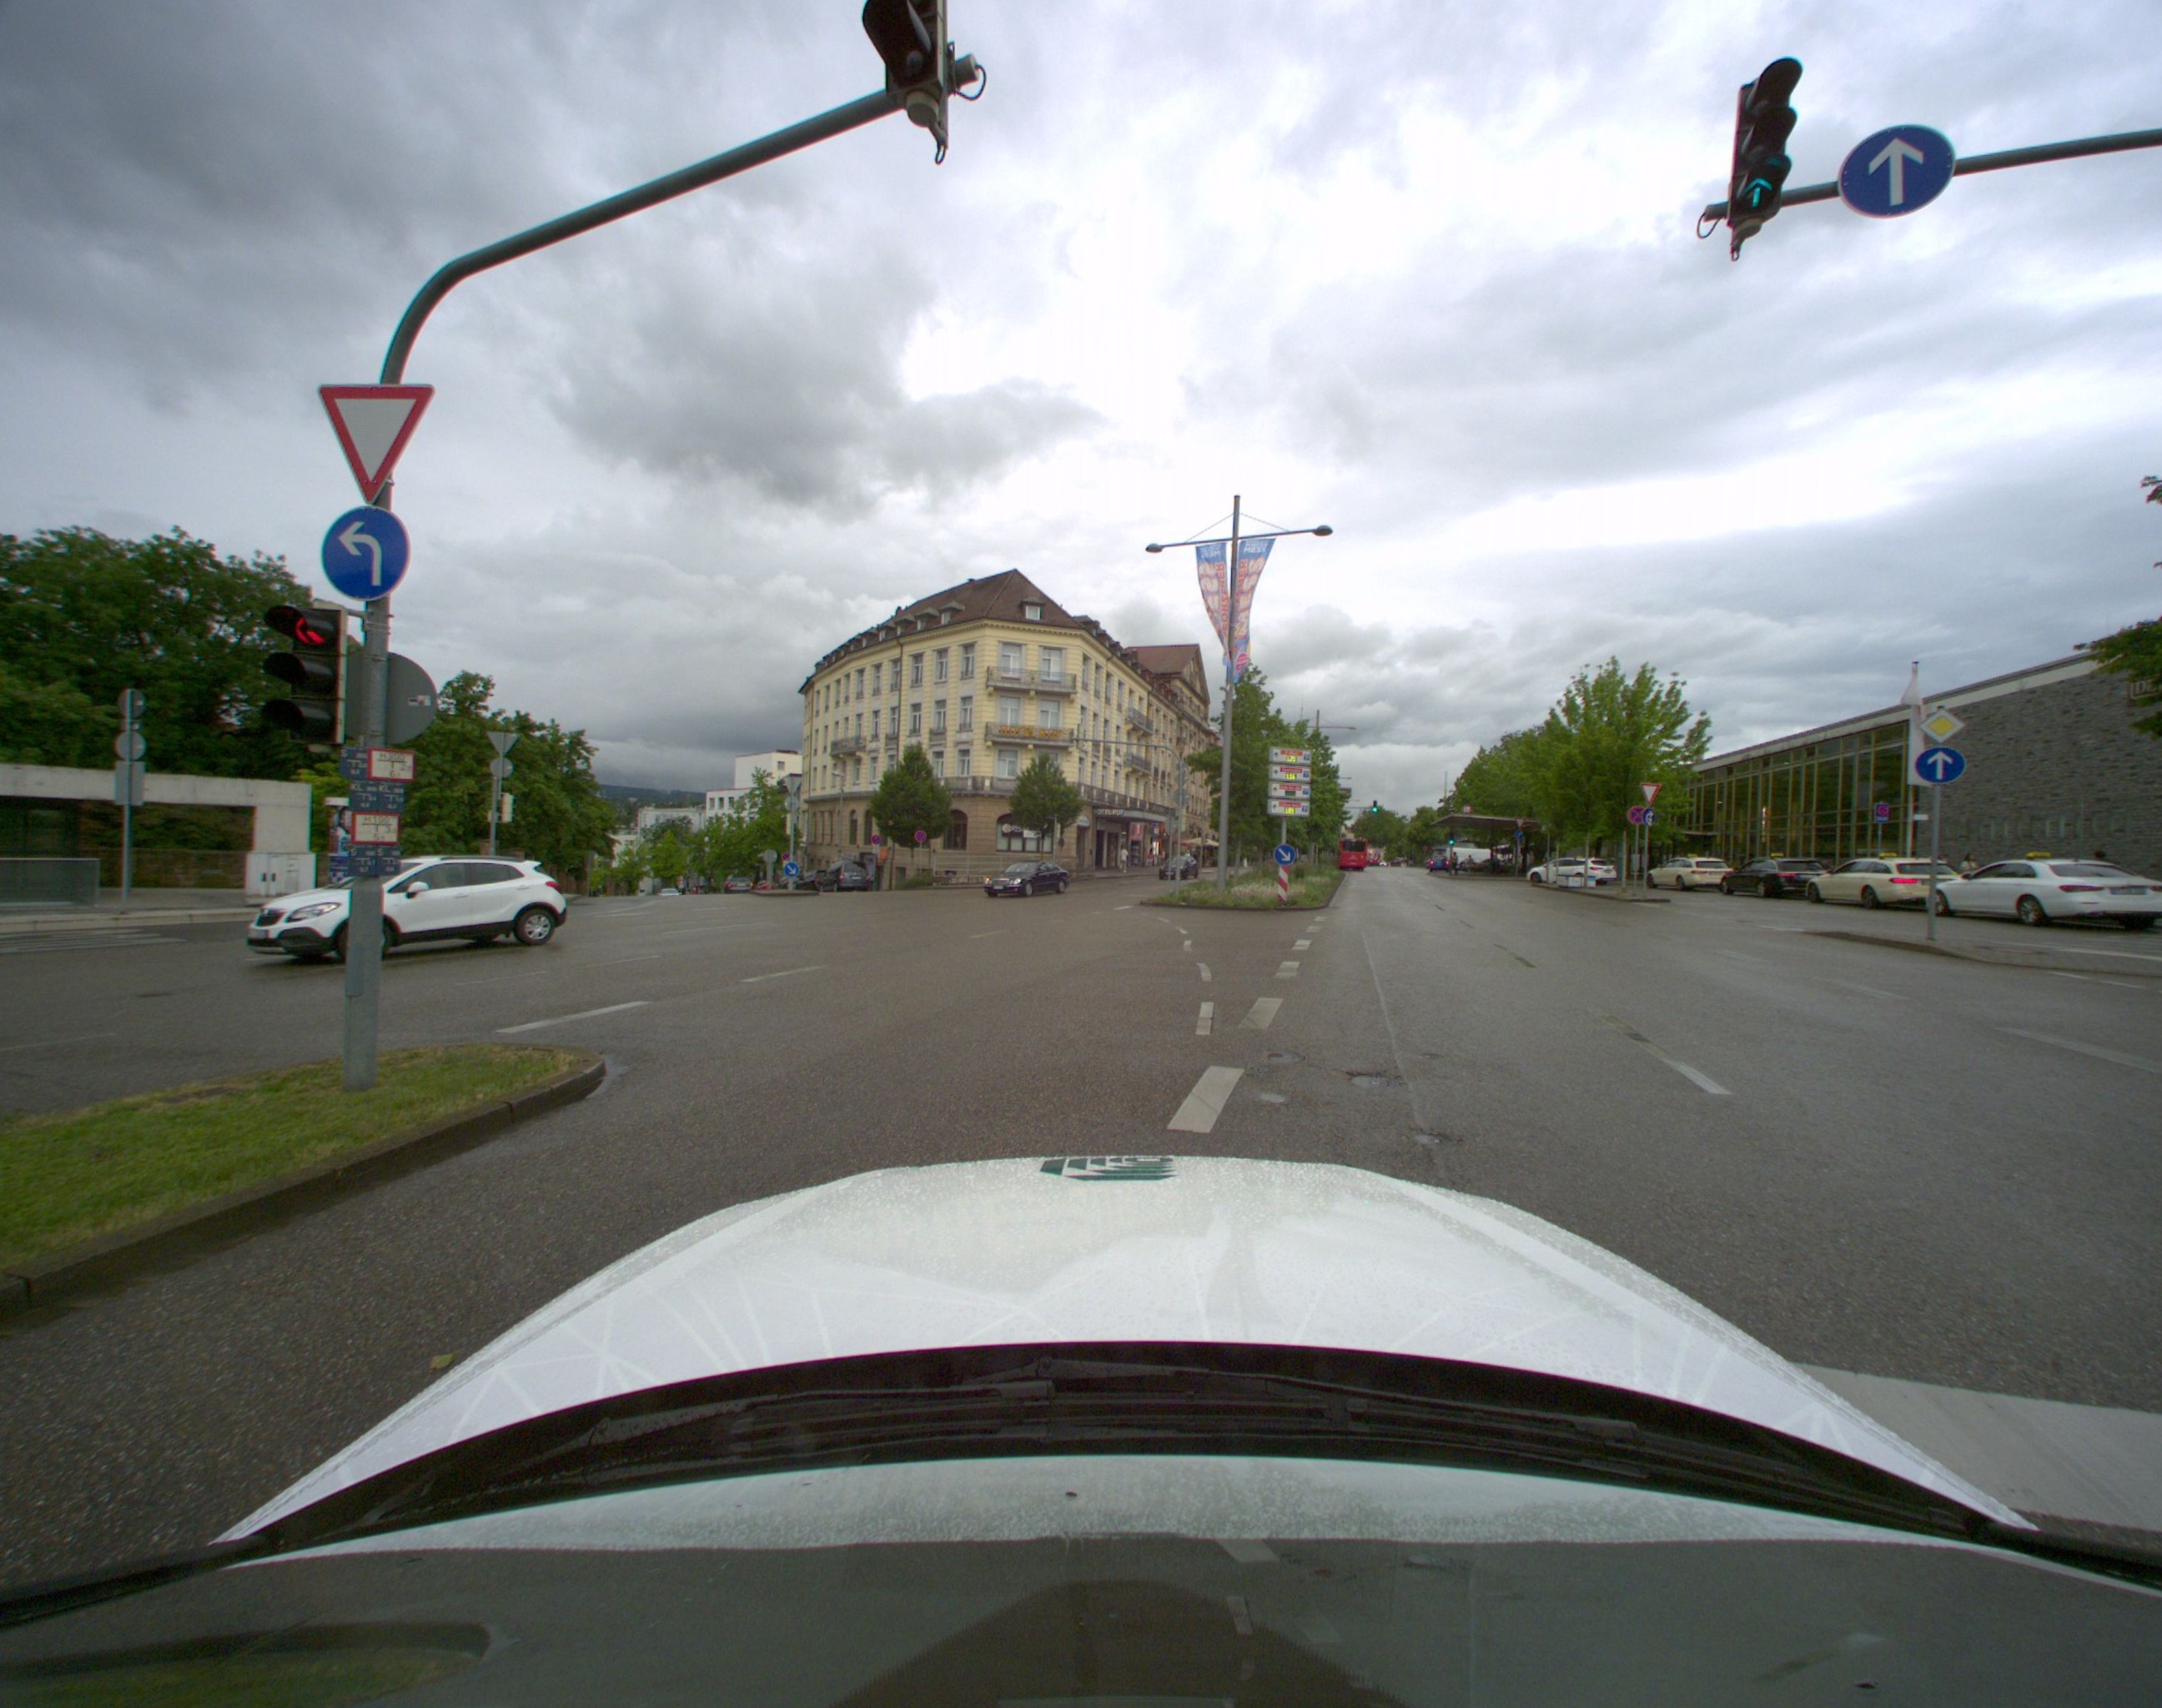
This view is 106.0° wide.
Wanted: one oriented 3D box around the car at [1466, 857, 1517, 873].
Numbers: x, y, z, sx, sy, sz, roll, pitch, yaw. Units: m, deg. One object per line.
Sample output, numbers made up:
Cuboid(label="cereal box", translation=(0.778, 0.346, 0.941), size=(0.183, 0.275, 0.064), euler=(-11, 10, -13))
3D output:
Cuboid(label="car", translation=(38.638, 1.030, 76.651), size=(3.988, 1.359, 1.857), euler=(1, -1, -11))

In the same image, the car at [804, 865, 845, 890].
Cuboid(label="car", translation=(-16.223, 1.446, 51.399), size=(1.640, 1.398, 3.961), euler=(0, 0, -30))

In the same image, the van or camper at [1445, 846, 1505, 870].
Cuboid(label="van or camper", translation=(44.690, 0.456, 92.426), size=(5.942, 2.763, 2.193), euler=(0, -1, -8))

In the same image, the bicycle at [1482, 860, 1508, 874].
Cuboid(label="bicycle", translation=(32.471, 1.027, 63.894), size=(1.821, 1.056, 0.420), euler=(0, -1, 1))

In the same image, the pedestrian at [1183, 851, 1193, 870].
Cuboid(label="pedestrian", translation=(9.321, 0.583, 70.909), size=(0.675, 1.664, 0.811), euler=(-1, -1, 22))

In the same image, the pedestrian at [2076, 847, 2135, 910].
Cuboid(label="pedestrian", translation=(26.972, 0.635, 21.442), size=(0.724, 1.626, 0.791), euler=(0, -1, -25))

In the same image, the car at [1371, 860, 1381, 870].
Cuboid(label="car", translation=(58.853, 2.120, 162.459), size=(1.977, 2.014, 4.020), euler=(-1, -1, 20))

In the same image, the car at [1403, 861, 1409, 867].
Cuboid(label="car", translation=(91.861, 2.747, 230.152), size=(1.631, 1.661, 3.668), euler=(-1, -1, 20))

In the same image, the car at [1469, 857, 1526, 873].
Cuboid(label="car", translation=(37.391, 0.999, 73.184), size=(4.172, 1.325, 1.839), euler=(1, -1, -1))

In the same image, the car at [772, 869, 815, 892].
Cuboid(label="car", translation=(-19.637, 1.756, 55.462), size=(1.777, 1.478, 3.957), euler=(0, -1, -35))

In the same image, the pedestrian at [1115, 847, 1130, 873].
Cuboid(label="pedestrian", translation=(2.933, 0.435, 57.613), size=(0.872, 1.813, 0.754), euler=(-1, -1, 19))

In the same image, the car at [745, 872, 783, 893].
Cuboid(label="car", translation=(-23.487, 2.081, 60.239), size=(1.777, 1.478, 3.967), euler=(0, -1, -35))

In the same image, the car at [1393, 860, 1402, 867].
Cuboid(label="car", translation=(69.905, 2.033, 179.901), size=(1.581, 1.561, 3.668), euler=(-1, -1, 20))

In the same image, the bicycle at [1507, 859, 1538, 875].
Cuboid(label="bicycle", translation=(29.935, 0.894, 55.200), size=(1.812, 1.056, 0.422), euler=(-1, -1, 19))

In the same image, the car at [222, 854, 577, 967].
Cuboid(label="car", translation=(-11.356, 0.836, 13.966), size=(1.938, 1.618, 4.232), euler=(-1, -1, 25))

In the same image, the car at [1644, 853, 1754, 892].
Cuboid(label="car", translation=(27.583, 0.783, 36.559), size=(1.980, 1.599, 4.974), euler=(-1, 0, 12))

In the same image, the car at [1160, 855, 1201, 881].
Cuboid(label="car", translation=(6.198, 0.846, 50.440), size=(1.663, 1.512, 3.883), euler=(-1, -1, 21))

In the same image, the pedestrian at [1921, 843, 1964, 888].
Cuboid(label="pedestrian", translation=(30.331, 0.411, 28.681), size=(0.763, 1.580, 0.713), euler=(-1, -1, 16))

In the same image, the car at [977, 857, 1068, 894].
Cuboid(label="car", translation=(-2.306, 0.833, 33.131), size=(1.938, 1.422, 4.023), euler=(-1, -1, 25))

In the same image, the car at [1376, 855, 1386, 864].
Cuboid(label="car", translation=(64.957, 1.234, 176.655), size=(1.977, 2.014, 4.020), euler=(-1, -1, 20))

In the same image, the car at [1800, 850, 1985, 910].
Cuboid(label="car", translation=(23.910, 0.701, 24.298), size=(1.977, 1.599, 4.983), euler=(-1, 0, 20))

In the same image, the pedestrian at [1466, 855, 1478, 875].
Cuboid(label="pedestrian", translation=(36.204, 0.977, 75.370), size=(0.849, 1.835, 1.195), euler=(0, -1, 19))

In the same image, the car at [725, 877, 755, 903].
Cuboid(label="car", translation=(-21.738, 2.258, 51.909), size=(1.702, 1.466, 4.417), euler=(0, -1, -23))

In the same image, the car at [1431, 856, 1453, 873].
Cuboid(label="car", translation=(34.344, 0.969, 77.563), size=(1.842, 1.569, 4.022), euler=(1, -1, 23))

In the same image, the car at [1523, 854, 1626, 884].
Cuboid(label="car", translation=(26.524, 0.788, 43.953), size=(1.764, 1.546, 4.745), euler=(1, -1, -20))

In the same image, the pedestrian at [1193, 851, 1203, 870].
Cuboid(label="pedestrian", translation=(10.155, 0.573, 70.670), size=(0.676, 1.664, 0.811), euler=(-1, -1, 19))

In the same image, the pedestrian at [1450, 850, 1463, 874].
Cuboid(label="pedestrian", translation=(27.736, 0.589, 60.151), size=(0.741, 1.747, 0.838), euler=(0, -1, 11))

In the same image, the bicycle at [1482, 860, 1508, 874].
Cuboid(label="bicycle", translation=(32.244, 1.028, 63.436), size=(1.821, 1.056, 0.420), euler=(0, -1, 1))

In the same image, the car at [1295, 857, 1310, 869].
Cuboid(label="car", translation=(38.845, 1.537, 142.942), size=(1.976, 2.014, 5.026), euler=(-1, -1, 21))

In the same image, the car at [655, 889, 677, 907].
Cuboid(label="car", translation=(-37.188, 3.921, 72.966), size=(1.640, 1.398, 3.962), euler=(0, -1, -30))

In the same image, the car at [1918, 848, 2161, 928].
Cuboid(label="car", translation=(21.984, 0.698, 18.695), size=(1.864, 1.599, 4.927), euler=(-1, -1, 20))

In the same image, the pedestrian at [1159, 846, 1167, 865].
Cuboid(label="pedestrian", translation=(7.562, 0.144, 75.371), size=(0.662, 1.664, 0.538), euler=(-1, -1, 11))

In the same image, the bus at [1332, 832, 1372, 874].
Cuboid(label="bus", translation=(27.292, -0.023, 82.028), size=(3.516, 3.980, 11.224), euler=(-1, -1, 19))

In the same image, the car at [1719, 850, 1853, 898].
Cuboid(label="car", translation=(25.936, 0.685, 30.196), size=(1.977, 1.599, 4.981), euler=(1, 0, 18))

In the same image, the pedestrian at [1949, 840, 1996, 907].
Cuboid(label="pedestrian", translation=(29.421, 0.636, 26.880), size=(0.787, 2.164, 0.727), euler=(-1, -1, 25))

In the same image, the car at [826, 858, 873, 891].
Cuboid(label="car", translation=(-13.054, 1.122, 45.839), size=(1.640, 1.759, 3.961), euler=(0, 0, -30))
